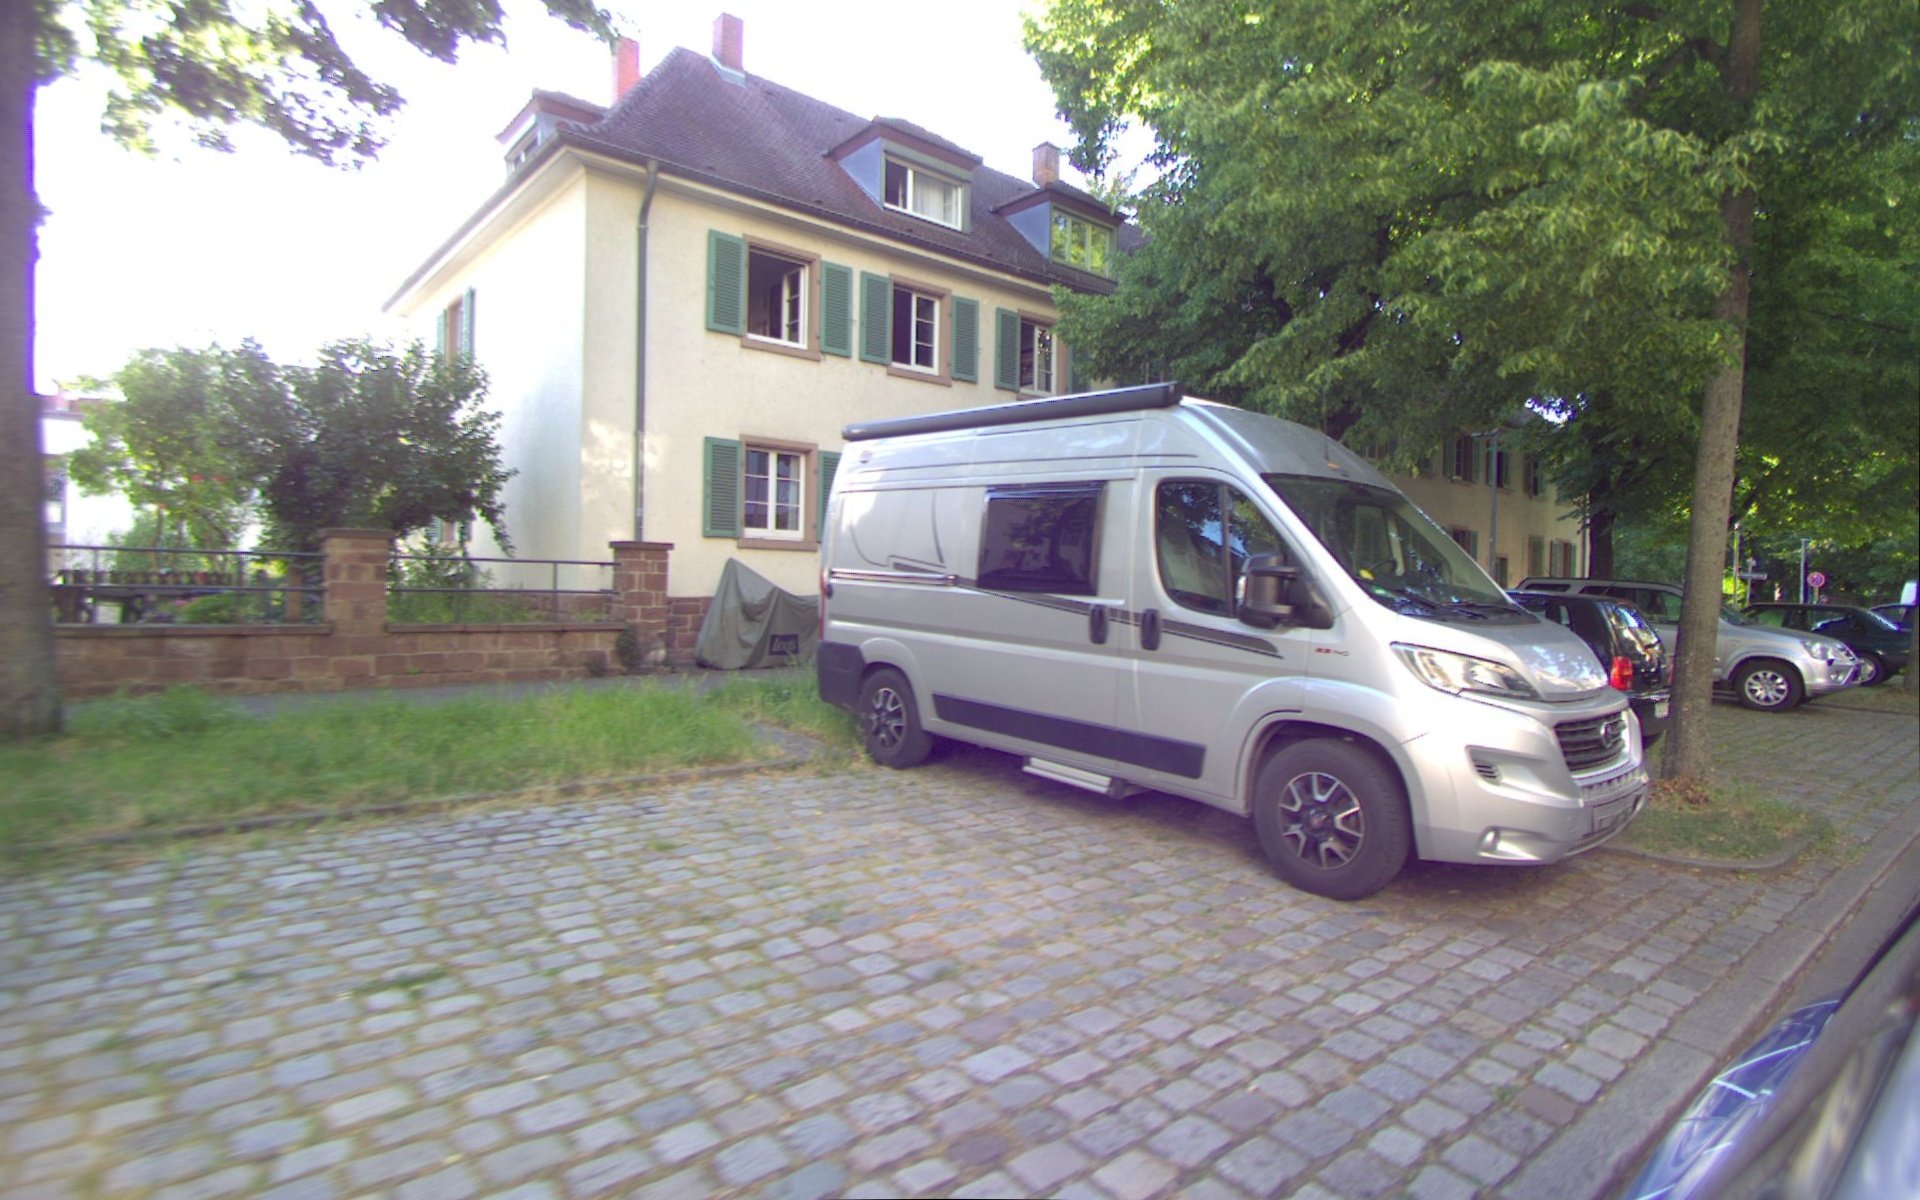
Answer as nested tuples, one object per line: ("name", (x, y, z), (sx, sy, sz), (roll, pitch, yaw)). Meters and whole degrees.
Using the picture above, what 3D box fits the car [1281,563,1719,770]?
("car", (5.108, 0.490, 9.868), (1.792, 1.480, 3.262), (1, 4, -39))

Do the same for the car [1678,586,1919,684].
("car", (16.090, 0.599, 18.984), (1.528, 1.571, 3.996), (1, 2, -40))

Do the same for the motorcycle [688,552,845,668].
("motorcycle", (-2.521, 0.109, 13.345), (1.981, 1.424, 0.660), (-1, 0, -41))

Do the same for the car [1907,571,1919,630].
("car", (46.433, 0.142, 45.442), (2.096, 2.695, 5.448), (1, 2, -40))

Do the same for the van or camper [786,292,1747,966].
("van or camper", (1.294, -0.100, 6.693), (2.124, 2.546, 5.734), (1, 4, -40))

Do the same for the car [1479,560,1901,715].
("car", (10.379, 0.397, 14.705), (1.966, 1.737, 4.603), (0, 3, -42))

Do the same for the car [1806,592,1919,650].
("car", (27.190, 0.613, 29.298), (1.546, 1.531, 3.991), (1, 2, -43))
